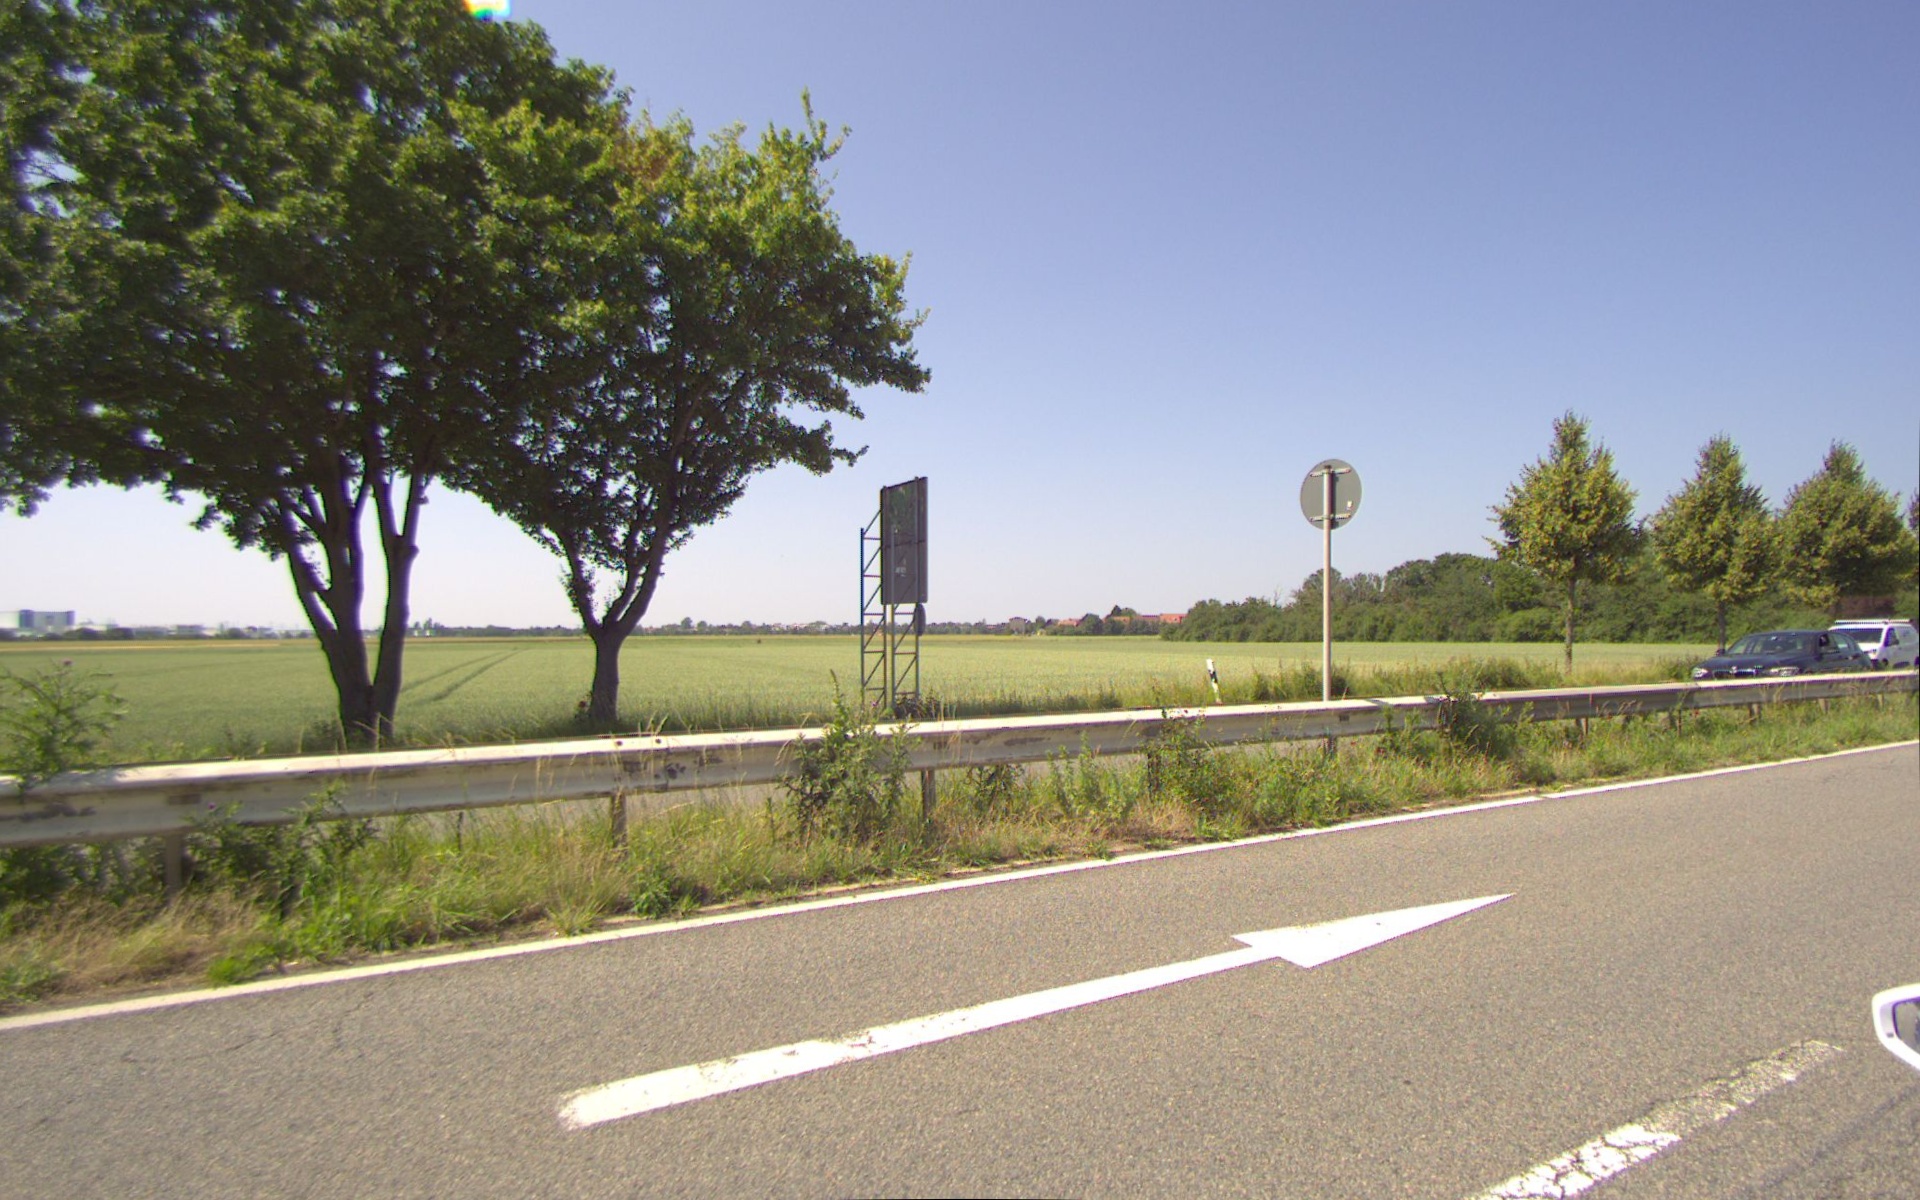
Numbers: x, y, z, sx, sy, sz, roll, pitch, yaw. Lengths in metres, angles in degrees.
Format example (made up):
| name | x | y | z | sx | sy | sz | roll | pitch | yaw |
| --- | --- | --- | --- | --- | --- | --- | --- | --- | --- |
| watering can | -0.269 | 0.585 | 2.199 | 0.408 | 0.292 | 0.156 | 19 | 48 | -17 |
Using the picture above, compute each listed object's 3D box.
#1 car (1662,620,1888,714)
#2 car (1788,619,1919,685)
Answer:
| name | x | y | z | sx | sy | sz | roll | pitch | yaw |
| --- | --- | --- | --- | --- | --- | --- | --- | --- | --- |
| car | 15.703 | 1.211 | 19.314 | 4.429 | 1.624 | 1.984 | 1 | -2 | -31 |
| car | 28.673 | 1.606 | 32.074 | 4.775 | 1.977 | 1.984 | 1 | -2 | -31 |
